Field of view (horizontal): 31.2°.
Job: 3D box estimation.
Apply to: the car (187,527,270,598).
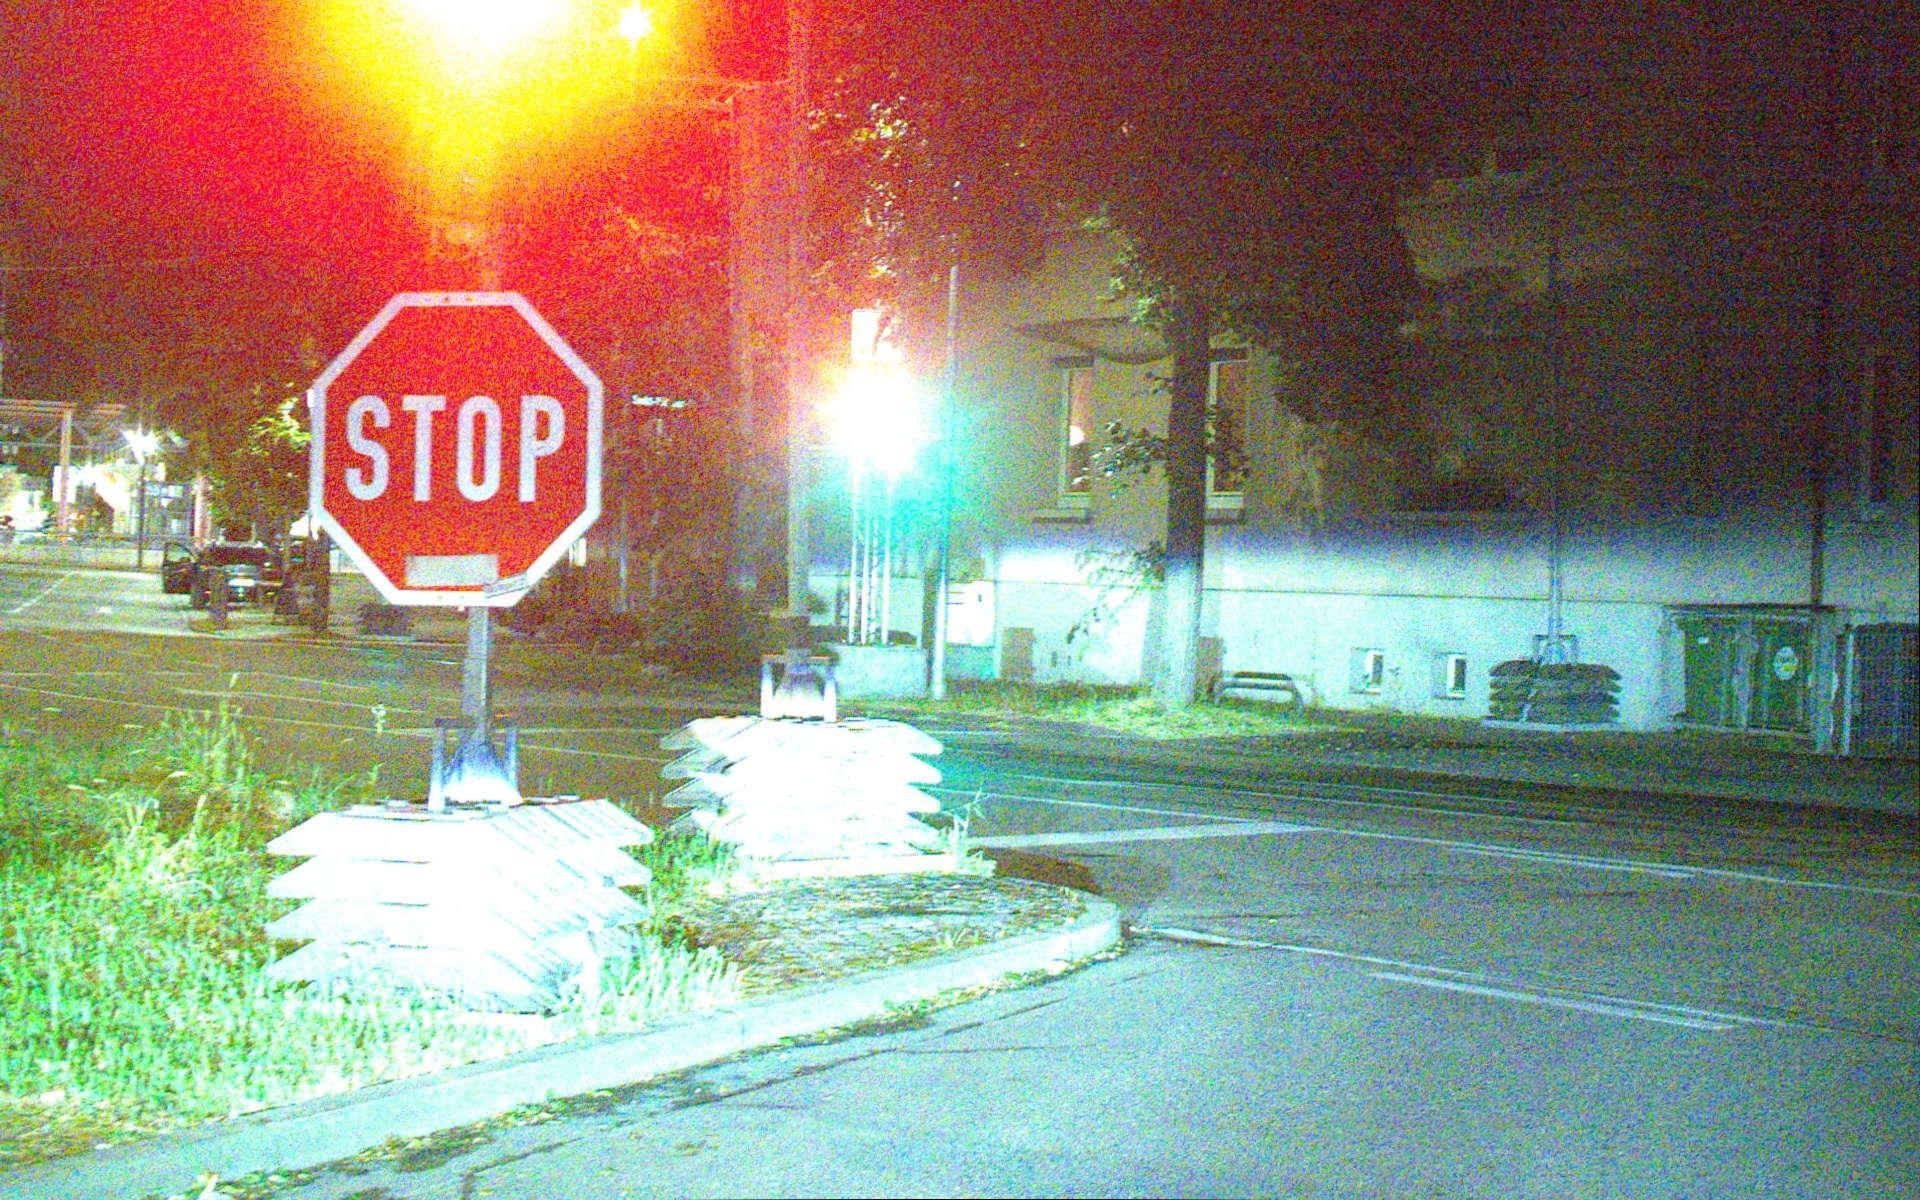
[{"bbox_3d":[-15.636,-0.817,73.474,1.651,1.426,4.001,1,1,-12],"label":"car"}]
